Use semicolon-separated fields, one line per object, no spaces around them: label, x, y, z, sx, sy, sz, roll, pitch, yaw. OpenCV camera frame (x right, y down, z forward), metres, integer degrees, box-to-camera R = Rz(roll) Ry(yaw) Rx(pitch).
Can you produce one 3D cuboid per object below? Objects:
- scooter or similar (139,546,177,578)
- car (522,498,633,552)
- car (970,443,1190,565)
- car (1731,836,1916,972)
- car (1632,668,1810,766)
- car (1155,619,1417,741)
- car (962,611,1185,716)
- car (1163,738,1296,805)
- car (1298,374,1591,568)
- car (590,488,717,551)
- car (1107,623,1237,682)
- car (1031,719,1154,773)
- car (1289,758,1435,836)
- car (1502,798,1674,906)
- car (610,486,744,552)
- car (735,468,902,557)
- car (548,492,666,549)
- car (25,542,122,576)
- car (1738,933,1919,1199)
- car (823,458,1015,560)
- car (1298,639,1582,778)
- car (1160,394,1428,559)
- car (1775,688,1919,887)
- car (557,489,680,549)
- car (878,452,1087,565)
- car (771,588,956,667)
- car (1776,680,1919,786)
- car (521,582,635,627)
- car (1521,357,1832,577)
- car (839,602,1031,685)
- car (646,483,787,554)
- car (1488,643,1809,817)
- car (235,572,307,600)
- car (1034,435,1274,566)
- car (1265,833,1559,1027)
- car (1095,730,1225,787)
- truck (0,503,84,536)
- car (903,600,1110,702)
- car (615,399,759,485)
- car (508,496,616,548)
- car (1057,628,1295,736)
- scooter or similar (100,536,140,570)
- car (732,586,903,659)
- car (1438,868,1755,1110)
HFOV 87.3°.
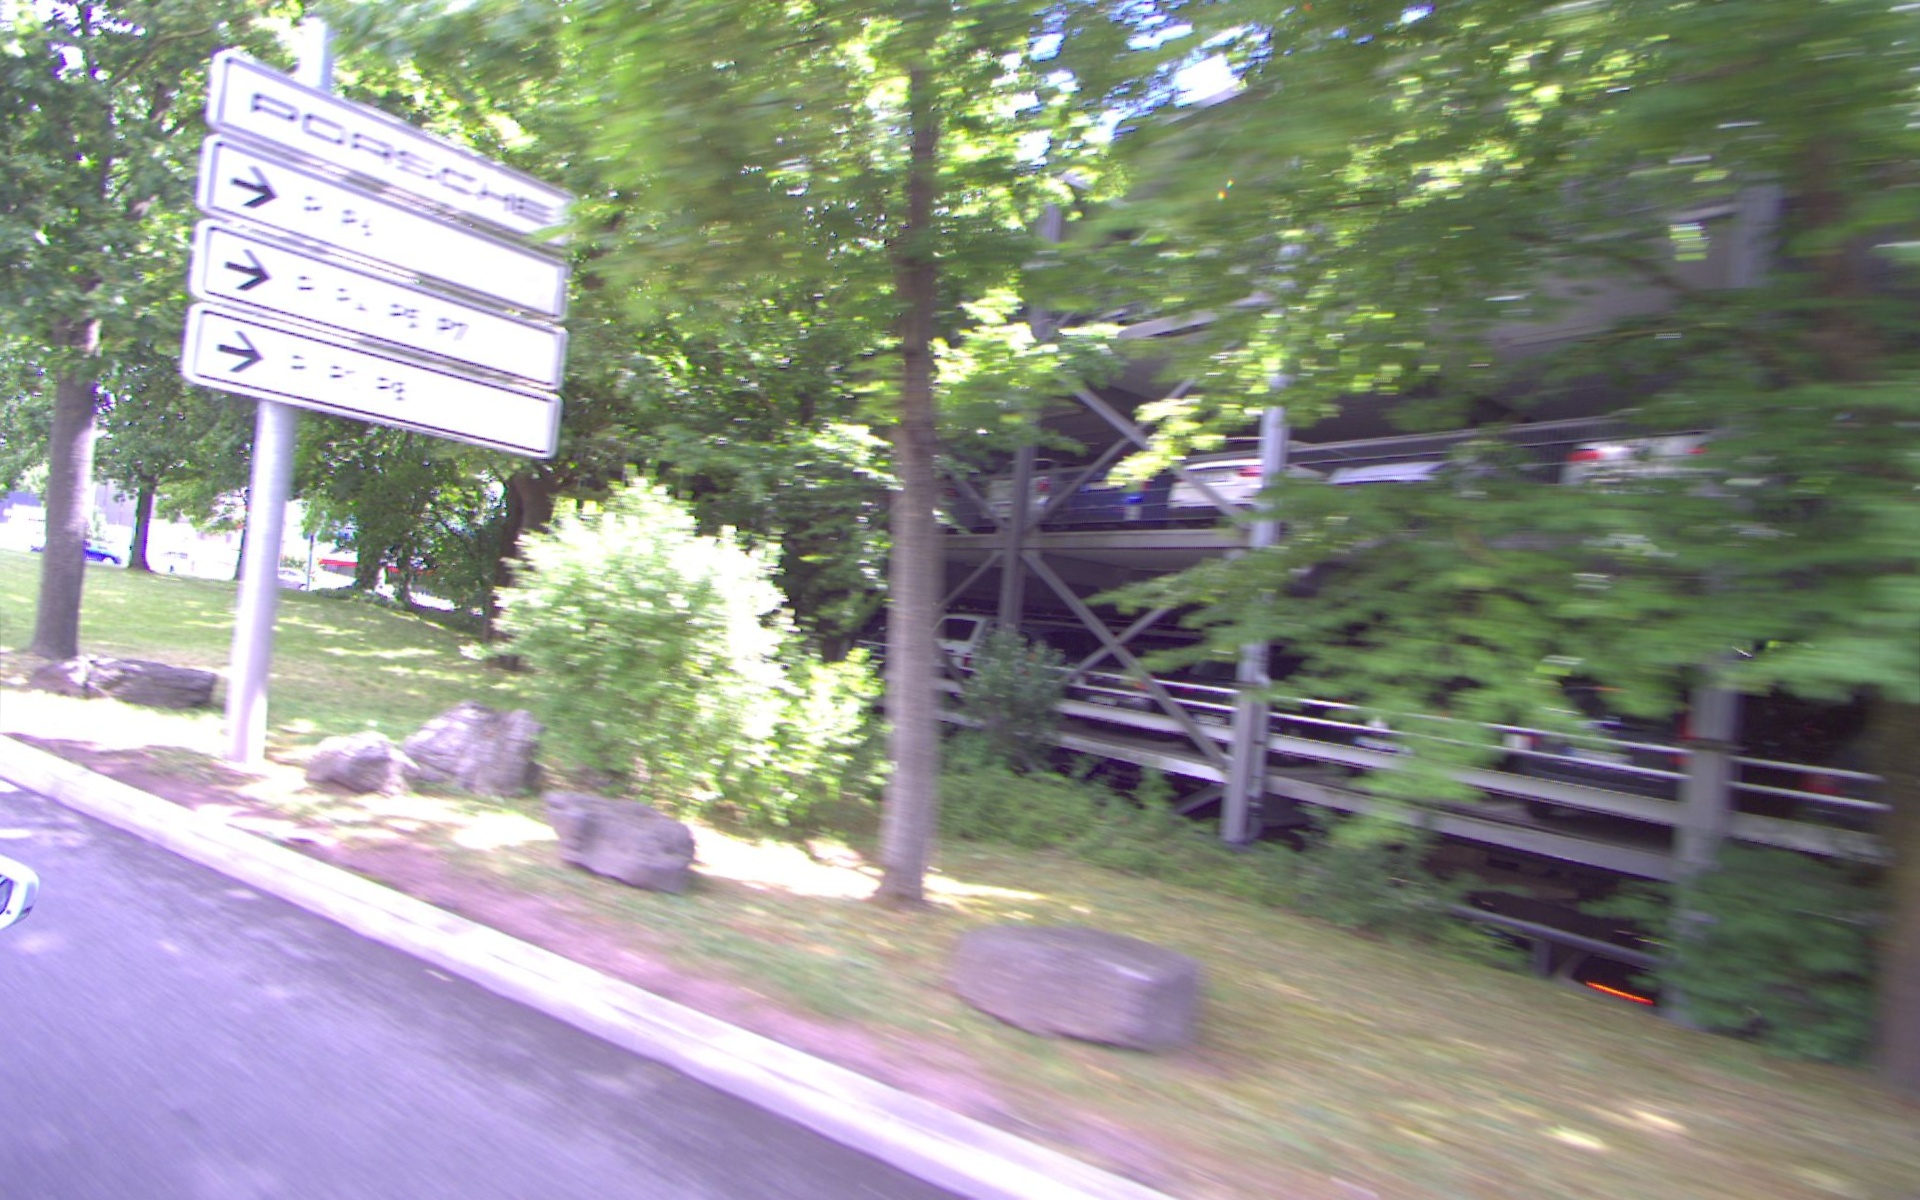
scooter or similar;-36.074;-1.705;45.246;0.524;1.278;1.192;4;-3;9
car;-15.059;-2.948;39.659;3.672;1.561;1.709;7;1;-37
car;2.208;-1.665;18.136;3.672;1.561;1.709;7;1;-37
car;15.160;5.203;17.609;3.823;1.465;1.678;5;0;-38
car;14.415;2.173;18.998;3.823;1.504;1.678;5;0;-38
car;4.773;1.191;14.523;3.825;1.409;1.678;7;-1;-38
car;2.096;1.174;18.147;3.825;1.507;1.678;7;-1;-38
car;7.638;4.772;28.382;3.750;1.465;1.623;5;0;-38
car;6.072;-1.466;12.484;3.672;1.640;1.642;7;1;-37
car;-10.409;-2.725;34.210;3.672;1.561;1.709;7;1;-37
car;6.433;1.600;30.356;3.767;1.409;1.759;7;-1;-38
car;4.198;4.553;31.682;3.750;1.388;1.623;5;0;-38
car;10.199;4.908;25.439;3.823;1.465;1.678;5;0;-38
car;12.817;5.030;20.465;3.823;1.465;1.678;5;0;-38
car;-9.070;-2.578;32.292;3.672;1.561;1.709;7;1;-37
car;-3.539;-2.170;25.350;3.672;1.640;1.709;7;1;-37
car;-13.133;-2.937;37.491;3.672;1.561;1.709;7;1;-37
car;-53.071;-2.433;60.307;1.670;1.415;3.994;5;-4;34
car;8.631;4.207;8.983;3.828;1.470;1.817;7;-1;-40
car;-0.832;-1.900;21.524;3.672;1.561;1.709;7;1;-37
car;6.221;1.402;12.891;3.825;1.409;1.678;7;-1;-38
car;4.740;-1.617;14.092;3.672;1.582;1.642;7;1;-37
car;8.760;1.644;8.786;3.825;1.409;1.678;7;-1;-38
car;-12.131;-2.860;35.811;3.672;1.561;1.709;7;1;-37
car;0.475;-1.722;19.567;3.672;1.561;1.709;7;1;-37
car;-2.191;0.664;23.281;3.825;1.409;1.759;7;-1;-38
car;16.133;2.306;17.855;3.823;1.504;1.678;5;0;-38
car;-14.943;0.185;39.456;3.767;1.308;1.759;7;-1;-38
car;7.980;-1.321;11.108;3.672;1.640;1.642;7;1;-37
car;-0.487;0.968;21.762;3.825;1.409;1.678;7;-1;-38
car;-7.362;-2.446;30.519;3.672;1.561;1.709;7;1;-37
car;7.414;1.356;10.720;3.825;1.409;1.678;7;-1;-38
car;-45.353;-0.889;66.238;1.560;1.479;3.514;6;0;34
car;3.176;-1.529;16.167;3.672;1.449;1.642;7;1;-37
car;5.789;3.987;12.721;3.828;1.470;1.817;7;-1;-40
car;6.059;4.759;30.347;3.767;1.348;1.759;7;-1;-38
truck;-78.425;-6.839;85.040;6.531;2.173;1.976;4;0;-43
car;0.981;1.036;19.947;3.825;1.646;1.678;7;-1;-38
car;-8.861;-5.062;32.769;3.968;1.680;1.851;10;-4;-36
car;-16.276;-3.180;41.212;3.672;1.561;1.709;7;1;-37
car;3.600;1.366;16.470;3.825;1.409;1.678;7;-1;-38
scooter or similar;-36.894;-2.049;44.192;0.524;1.278;1.192;4;-3;9
car;-3.523;0.581;25.170;3.767;1.409;1.759;7;-1;-38
car;7.162;4.093;11.188;3.828;1.470;1.817;7;-1;-40
